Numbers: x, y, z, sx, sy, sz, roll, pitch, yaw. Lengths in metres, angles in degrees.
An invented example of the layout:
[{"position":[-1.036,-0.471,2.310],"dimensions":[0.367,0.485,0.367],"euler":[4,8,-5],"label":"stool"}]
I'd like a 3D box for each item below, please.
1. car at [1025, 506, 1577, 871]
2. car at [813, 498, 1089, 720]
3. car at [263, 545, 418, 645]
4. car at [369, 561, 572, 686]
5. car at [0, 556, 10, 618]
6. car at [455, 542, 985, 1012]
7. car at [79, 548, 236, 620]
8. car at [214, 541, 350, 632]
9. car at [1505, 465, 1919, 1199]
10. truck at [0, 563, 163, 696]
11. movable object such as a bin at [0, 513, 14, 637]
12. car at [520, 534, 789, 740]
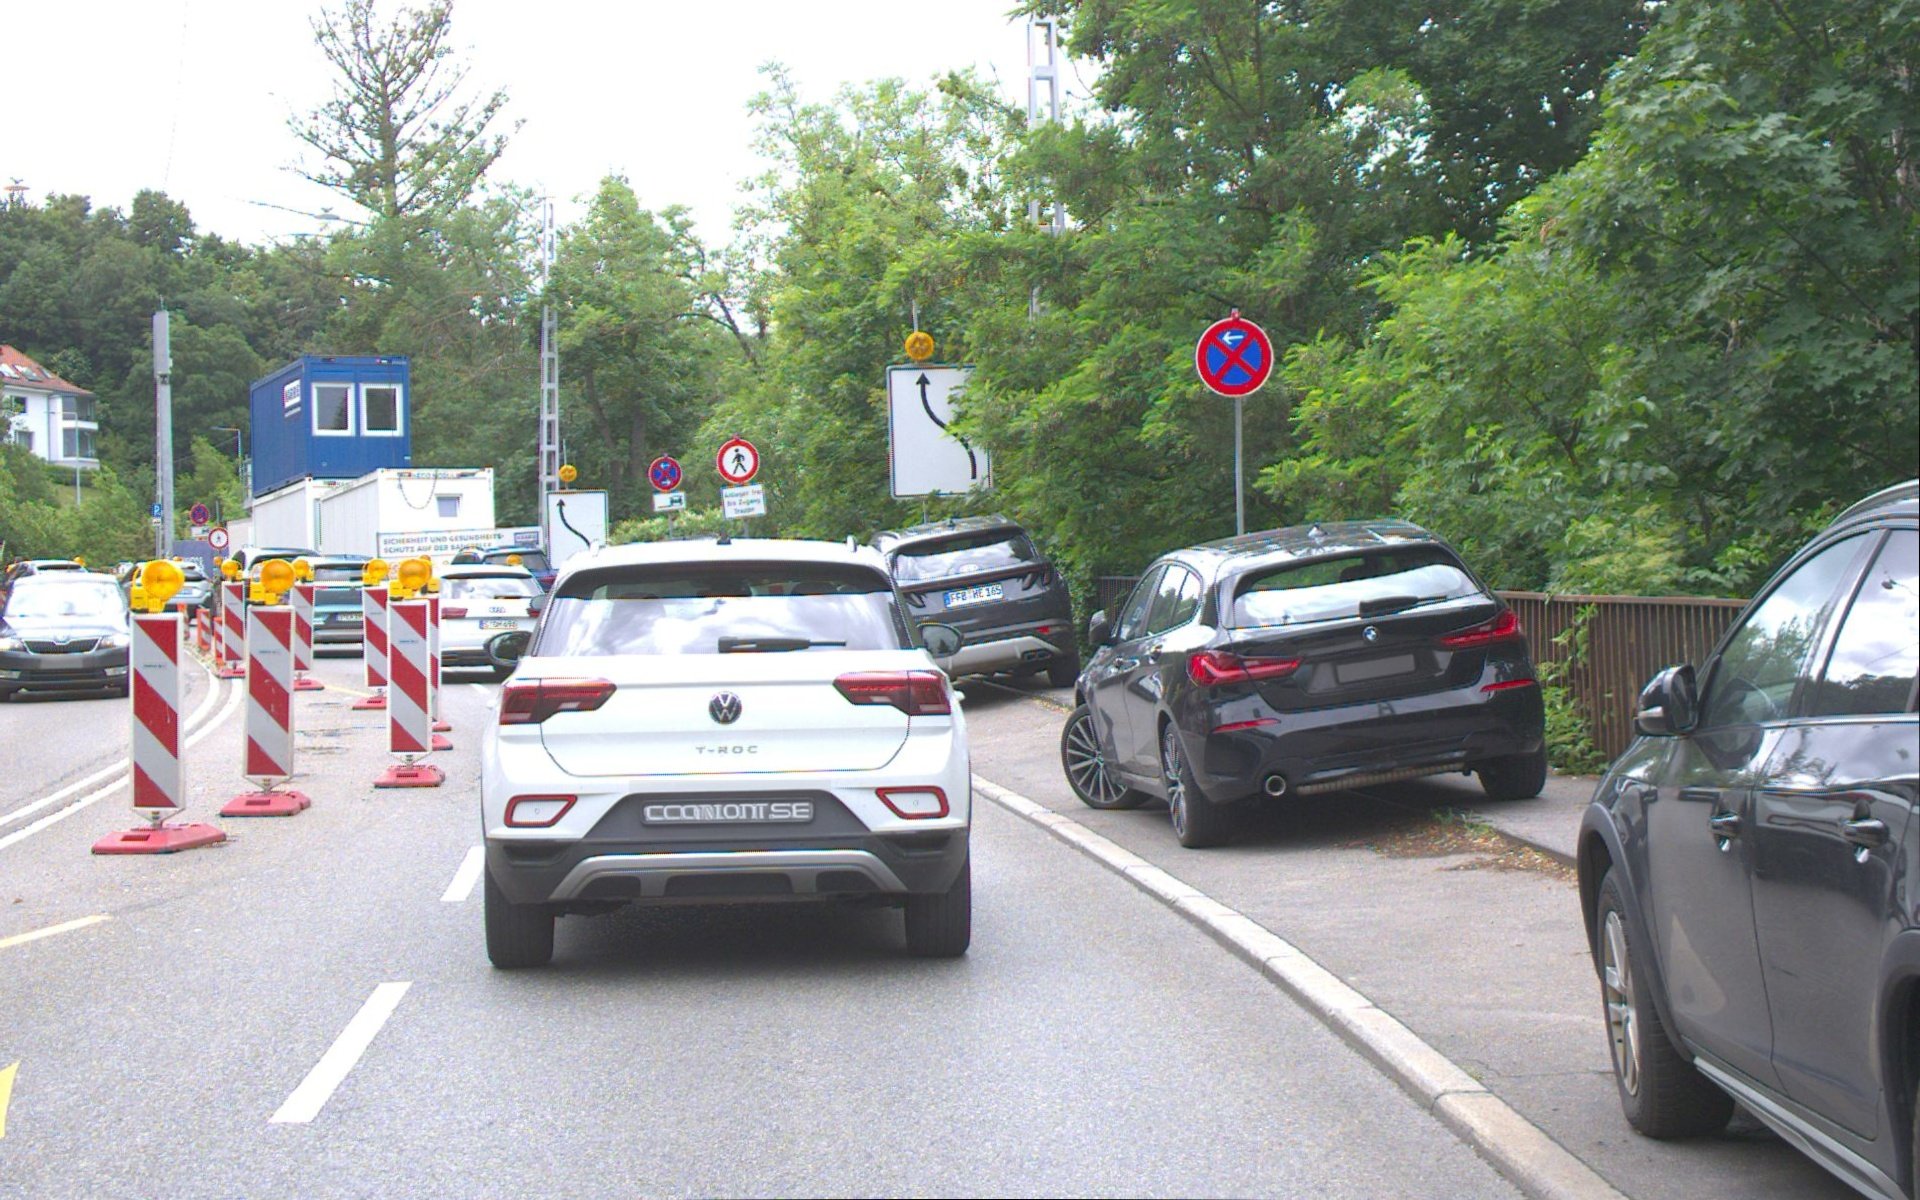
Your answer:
[{"position":[1.614,0.369,17.847],"dimensions":[1.807,1.458,4.195],"euler":[-7,2,-7],"label":"car"},{"position":[-0.163,0.043,32.131],"dimensions":[1.849,1.651,4.143],"euler":[-10,2,-7],"label":"car"},{"position":[-9.730,-0.060,53.781],"dimensions":[1.993,1.409,4.151],"euler":[-3,0,-15],"label":"car"},{"position":[-6.253,0.262,43.646],"dimensions":[1.757,1.466,3.796],"euler":[-1,1,-20],"label":"car"},{"position":[-24.748,-0.287,85.249],"dimensions":[1.895,1.489,4.001],"euler":[-3,1,-21],"label":"car"},{"position":[-0.950,0.565,13.516],"dimensions":[1.757,1.550,3.796],"euler":[-1,1,-4],"label":"car"},{"position":[-17.900,-0.354,76.543],"dimensions":[1.994,1.445,4.150],"euler":[-3,1,-34],"label":"car"},{"position":[-12.587,-0.272,63.684],"dimensions":[1.993,1.551,4.152],"euler":[-2,2,-17],"label":"car"},{"position":[2.378,0.472,6.690],"dimensions":[1.765,1.516,4.394],"euler":[-6,1,0],"label":"car"},{"position":[-10.643,0.320,41.049],"dimensions":[1.662,1.438,4.027],"euler":[-2,1,-6],"label":"truck"},{"position":[-31.690,-0.673,105.336],"dimensions":[3.531,3.687,7.495],"euler":[-3,1,-28],"label":"movable object such as a bin"},{"position":[-2.677,0.264,29.361],"dimensions":[1.757,1.604,3.796],"euler":[-1,1,-13],"label":"car"}]
